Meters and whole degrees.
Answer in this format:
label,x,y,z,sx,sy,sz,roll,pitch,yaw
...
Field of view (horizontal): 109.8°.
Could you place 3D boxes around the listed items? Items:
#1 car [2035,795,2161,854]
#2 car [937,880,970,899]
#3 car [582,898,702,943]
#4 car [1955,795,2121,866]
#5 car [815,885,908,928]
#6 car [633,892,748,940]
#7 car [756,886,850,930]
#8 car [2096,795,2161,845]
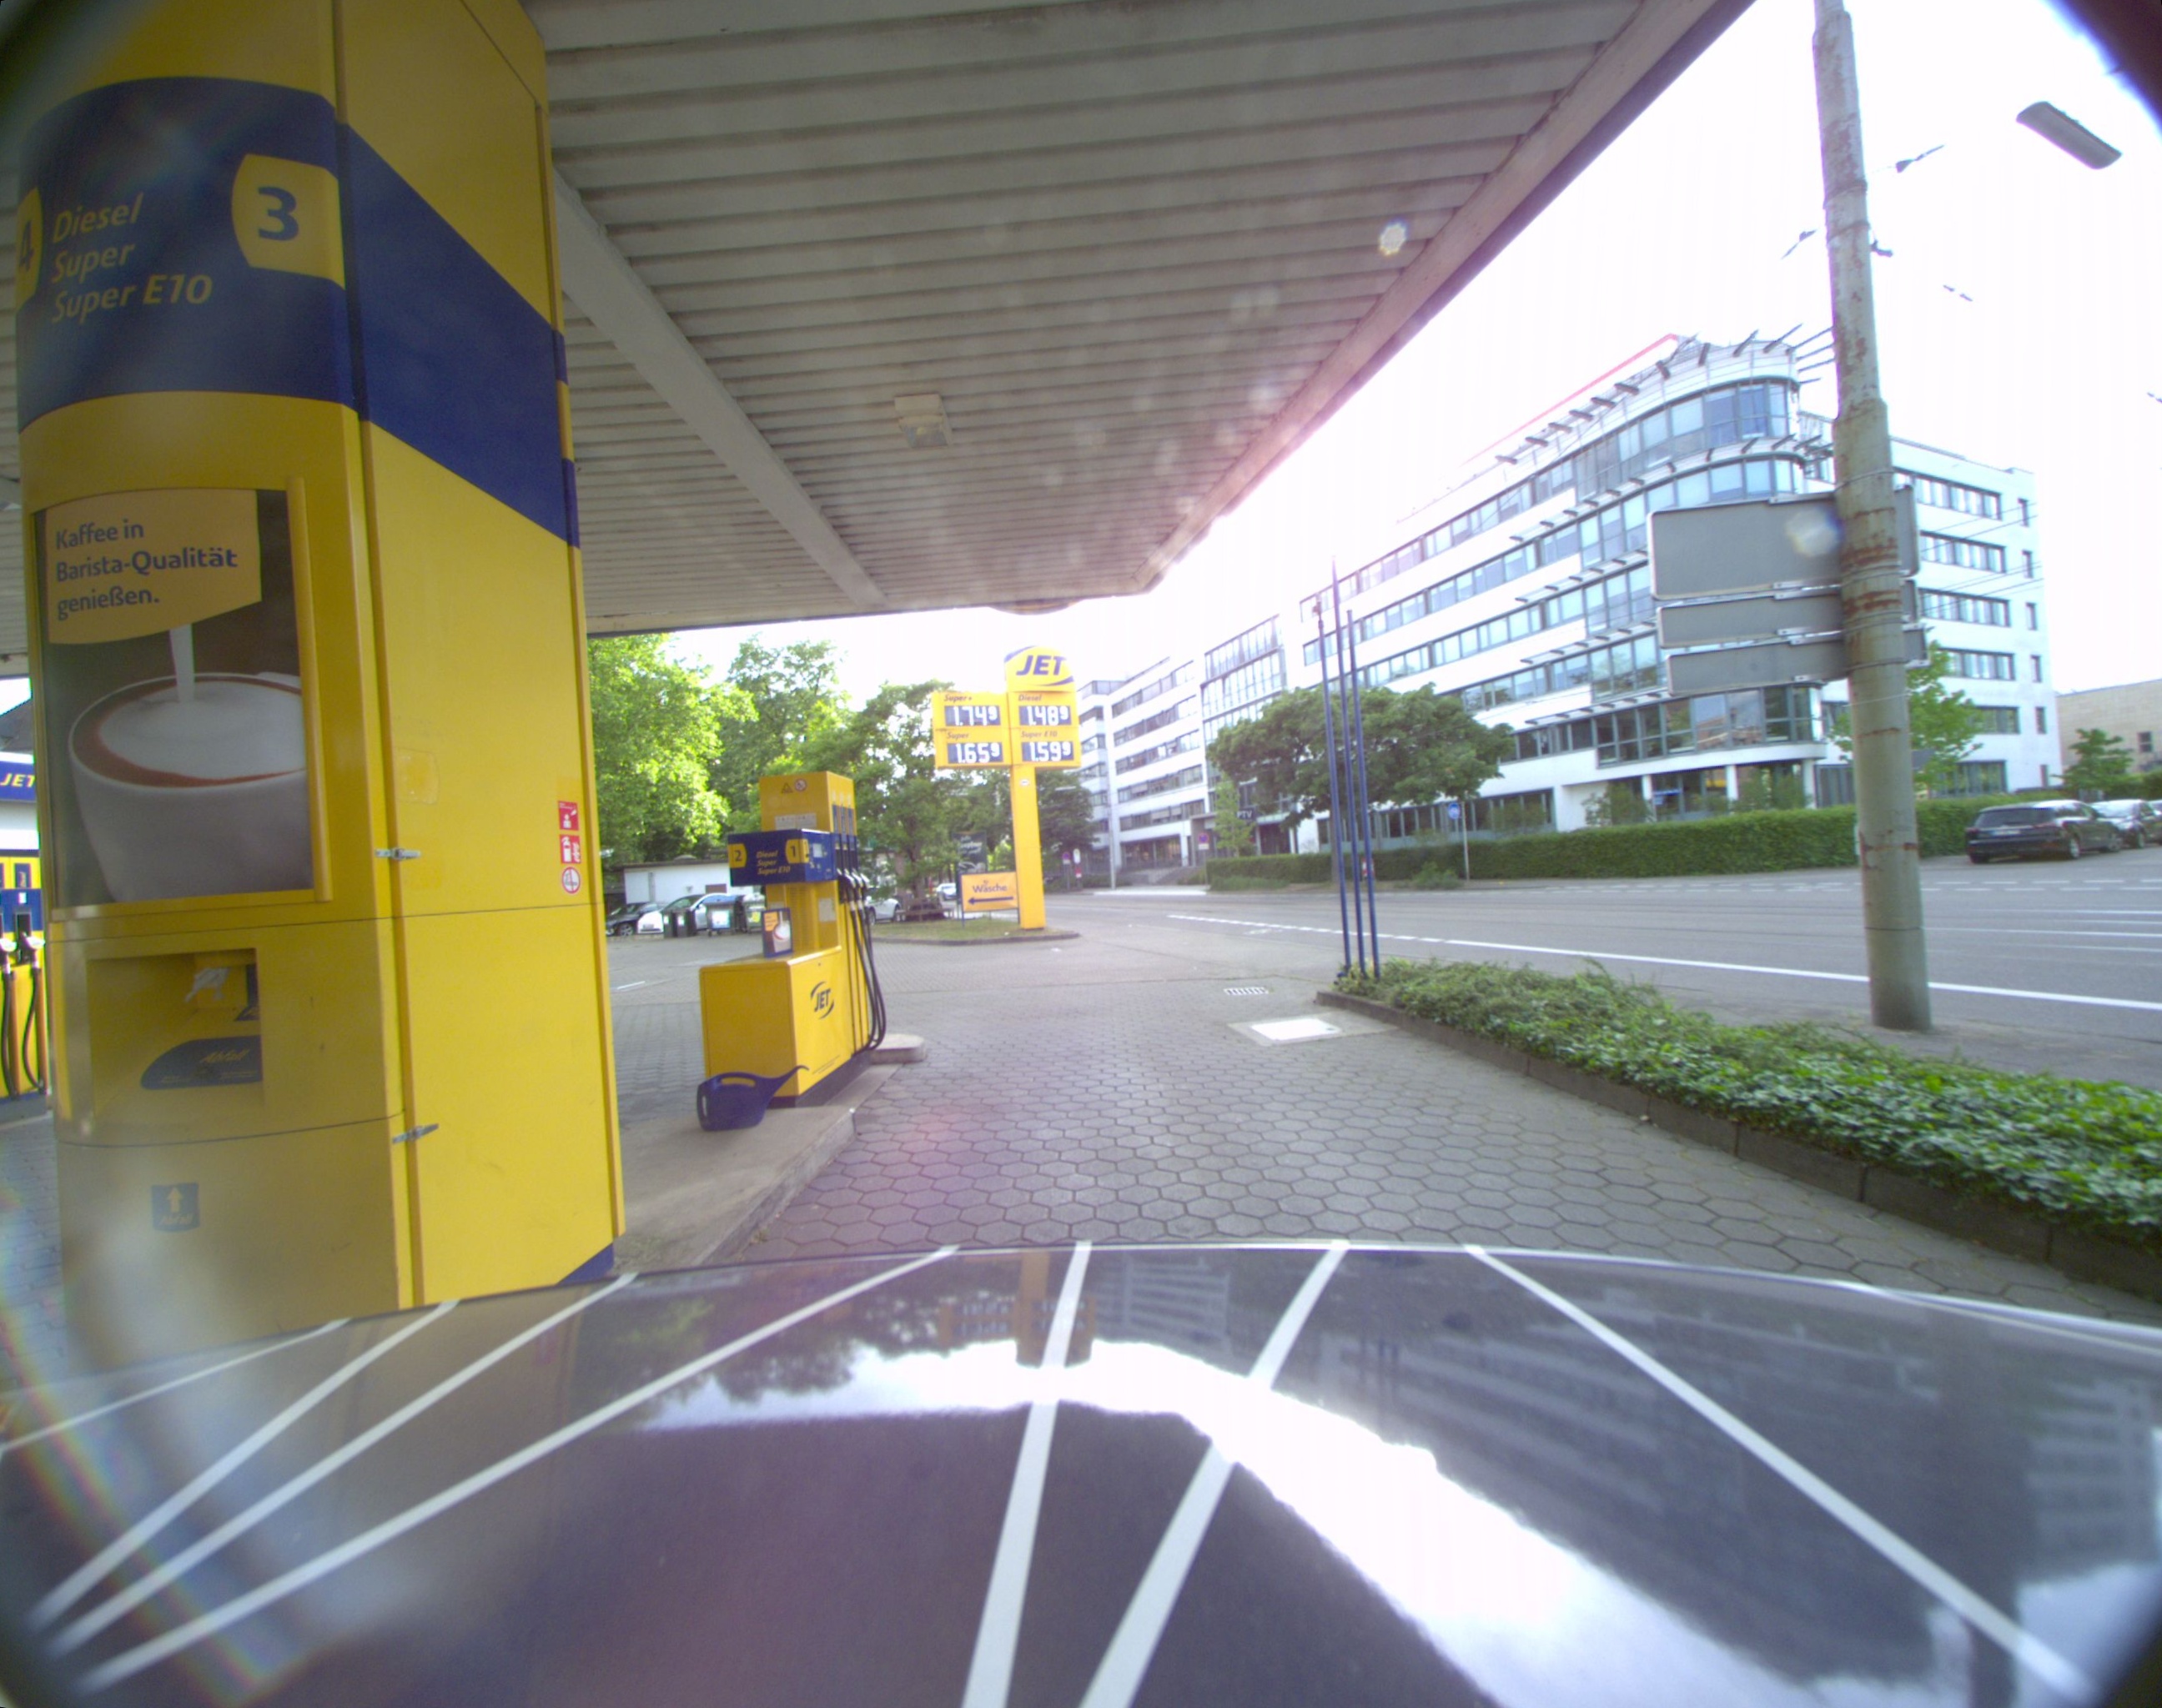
label,x,y,z,sx,sy,sz,roll,pitch,yaw
car,32.574,-0.959,24.072,4.201,1.568,1.820,-4,-1,-24
car,-11.670,3.219,69.406,1.865,1.500,4.820,-5,0,-22
car,-17.537,2.621,30.612,1.823,1.426,4.200,-4,-2,10
car,27.416,-0.670,21.762,4.397,1.678,1.820,-4,-1,-24
car,-8.659,2.039,30.382,1.823,1.449,4.200,-4,-2,10
car,-15.393,2.402,30.257,1.823,1.575,4.200,-4,-2,10
car,-11.749,2.256,32.469,1.823,1.575,4.200,-4,-2,10
car,37.103,-1.253,26.021,4.201,1.568,1.820,-4,-1,-24
